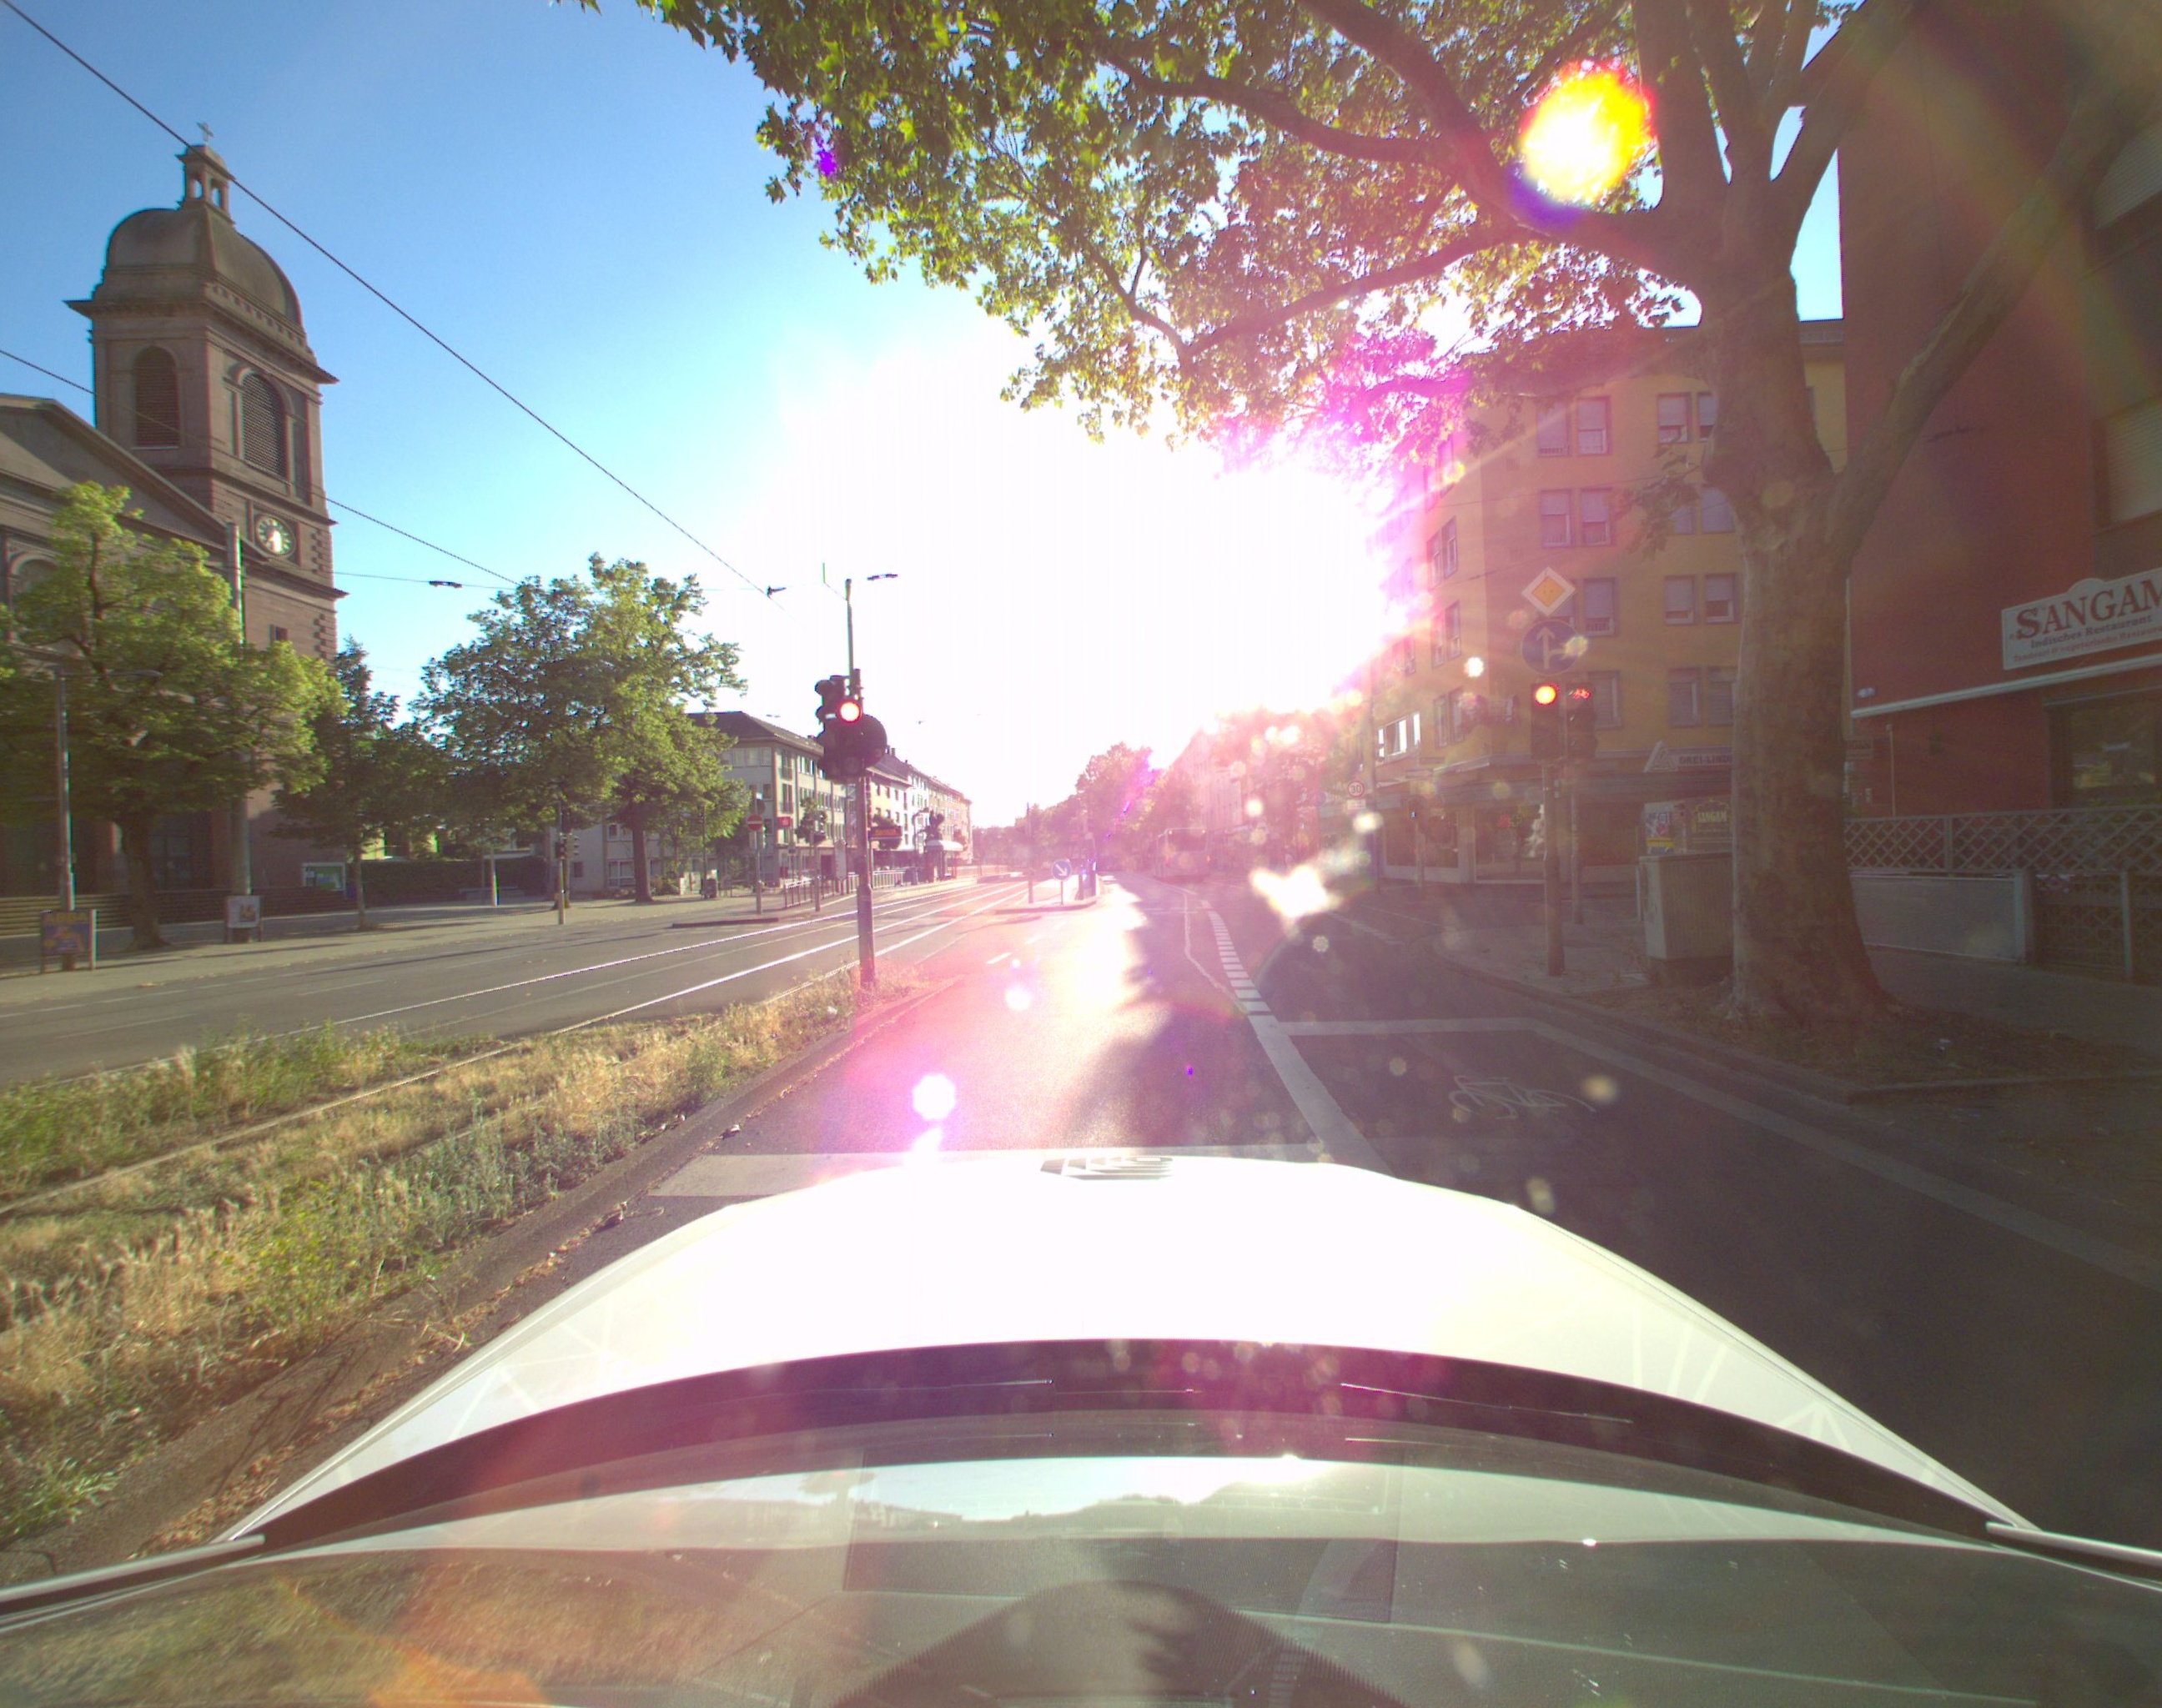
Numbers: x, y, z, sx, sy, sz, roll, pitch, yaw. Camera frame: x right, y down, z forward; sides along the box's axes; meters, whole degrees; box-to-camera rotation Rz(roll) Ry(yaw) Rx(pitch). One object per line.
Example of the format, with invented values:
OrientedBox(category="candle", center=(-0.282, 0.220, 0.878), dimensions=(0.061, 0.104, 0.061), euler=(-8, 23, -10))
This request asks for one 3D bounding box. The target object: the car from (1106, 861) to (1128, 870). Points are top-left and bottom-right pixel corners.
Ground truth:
OrientedBox(category="car", center=(7.217, 2.251, 161.387), dimensions=(3.911, 1.699, 1.817), euler=(-2, 0, -27))

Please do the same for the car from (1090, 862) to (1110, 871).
OrientedBox(category="car", center=(3.901, 2.577, 166.701), dimensions=(3.911, 1.596, 1.676), euler=(-2, 0, -27))

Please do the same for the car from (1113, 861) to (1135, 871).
OrientedBox(category="car", center=(8.382, 2.289, 158.638), dimensions=(3.911, 1.699, 1.817), euler=(-2, 0, -27))

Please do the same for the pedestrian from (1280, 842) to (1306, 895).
OrientedBox(category="pedestrian", center=(7.225, 0.488, 27.769), dimensions=(0.677, 1.770, 0.687), euler=(-2, 0, 2))

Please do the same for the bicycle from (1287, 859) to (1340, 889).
OrientedBox(category="bicycle", center=(8.904, 0.757, 31.243), dimensions=(1.766, 1.021, 0.694), euler=(-4, -1, 1))

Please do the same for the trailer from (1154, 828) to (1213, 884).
OrientedBox(category="trailer", center=(6.111, 0.142, 50.025), dimensions=(2.801, 3.110, 8.797), euler=(0, 0, 2))

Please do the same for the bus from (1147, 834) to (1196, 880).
OrientedBox(category="bus", center=(6.404, 0.218, 58.972), dimensions=(2.801, 3.101, 9.097), euler=(0, 0, 2))

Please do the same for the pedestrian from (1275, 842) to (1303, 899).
OrientedBox(category="pedestrian", center=(6.684, 0.515, 26.178), dimensions=(0.677, 1.770, 0.687), euler=(-2, 0, 2))
